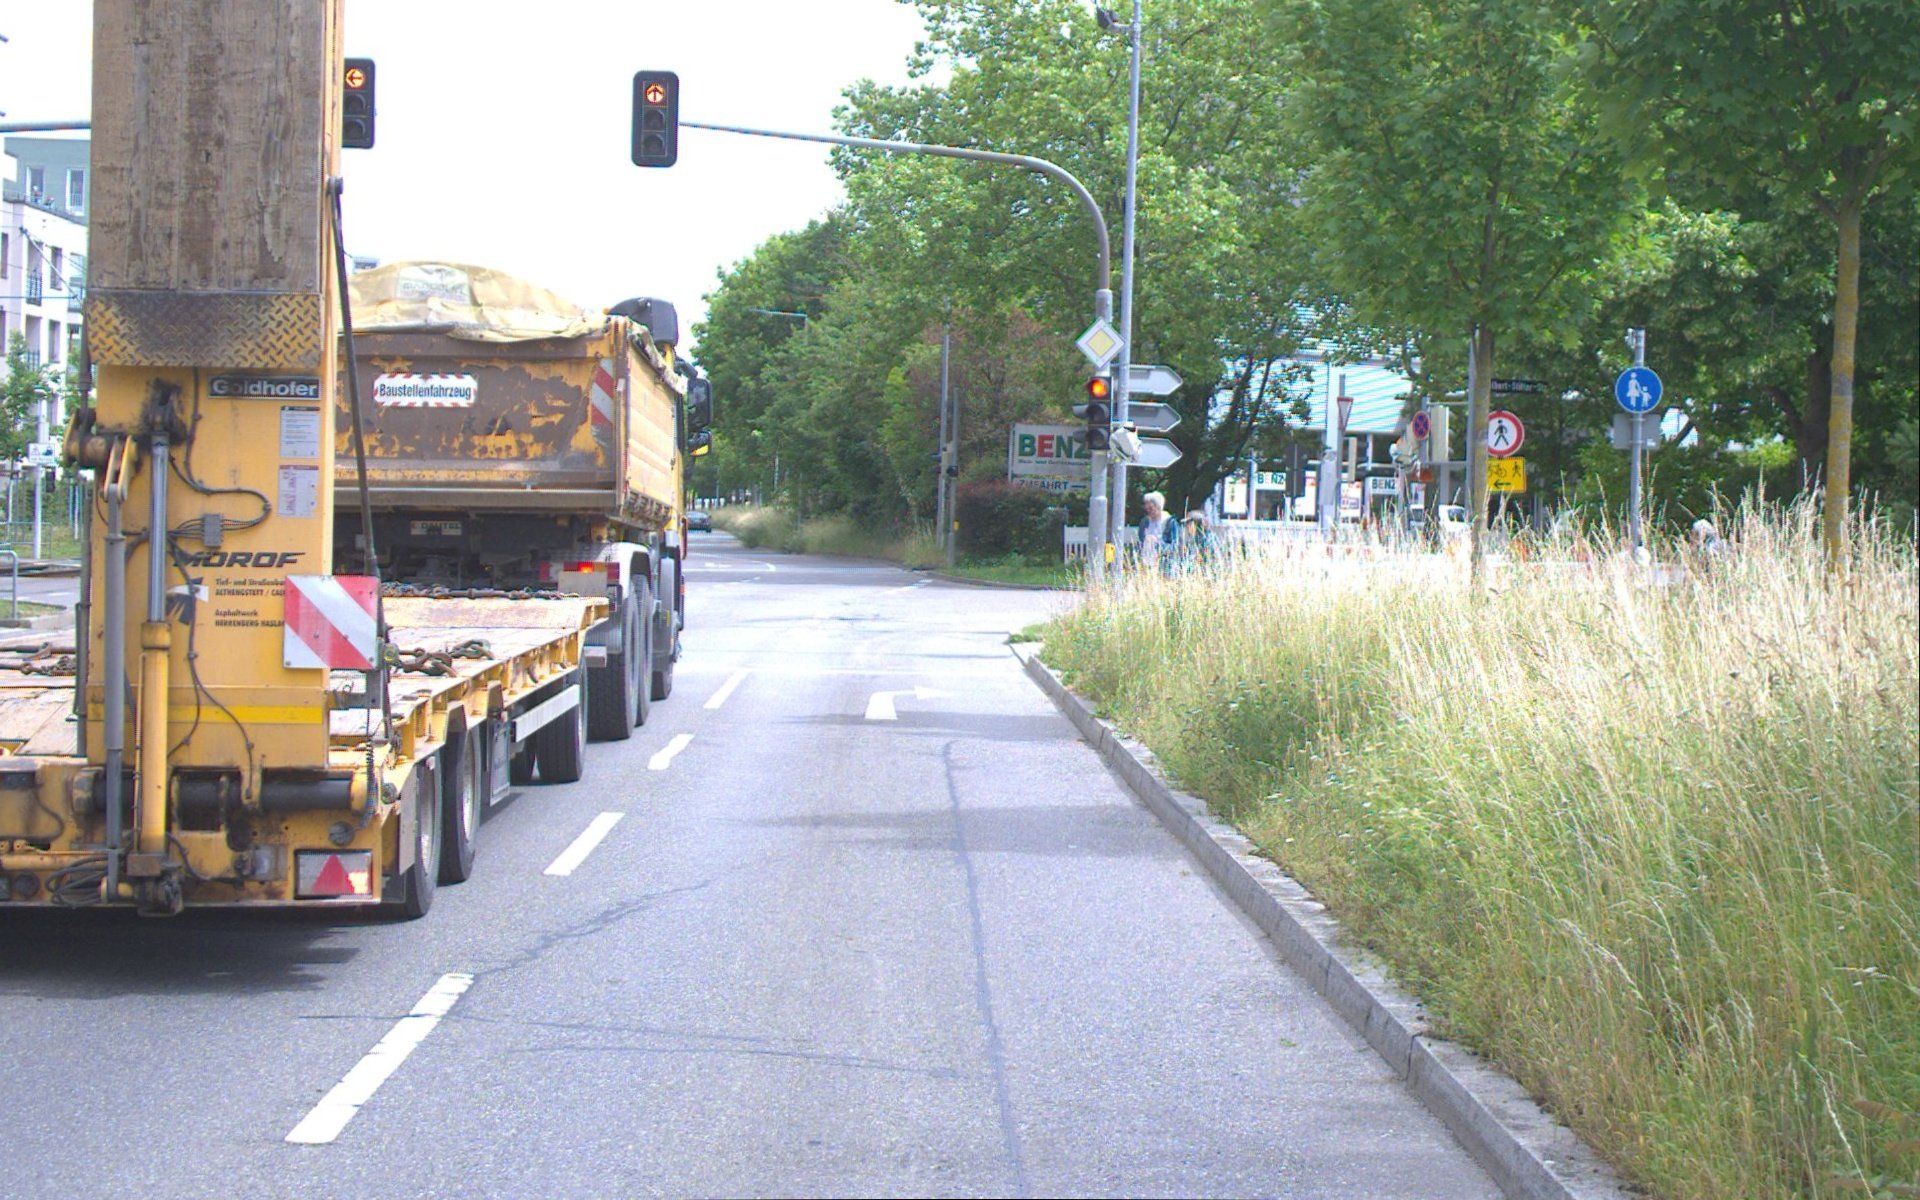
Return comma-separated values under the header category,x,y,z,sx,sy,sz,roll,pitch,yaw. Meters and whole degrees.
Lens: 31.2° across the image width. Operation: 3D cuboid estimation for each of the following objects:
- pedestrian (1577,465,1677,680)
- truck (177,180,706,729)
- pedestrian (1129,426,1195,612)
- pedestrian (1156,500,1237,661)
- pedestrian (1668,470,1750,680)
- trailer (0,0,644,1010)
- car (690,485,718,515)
category,x,y,z,sx,sy,sz,roll,pitch,yaw
pedestrian,6.348,-0.261,32.733,0.671,2.007,0.635,2,1,-10
truck,-3.519,-1.025,25.474,2.753,3.302,8.353,2,2,-1
pedestrian,2.218,-0.887,37.770,0.561,2.007,0.492,2,1,-10
pedestrian,2.457,-0.204,35.701,0.628,1.647,0.562,2,1,25
pedestrian,7.264,-0.247,33.363,0.561,2.007,0.492,2,1,-10
trailer,-3.262,-0.789,15.651,2.729,3.546,11.255,2,2,-1
car,-16.858,-6.613,226.629,1.689,1.919,4.001,2,2,-6
